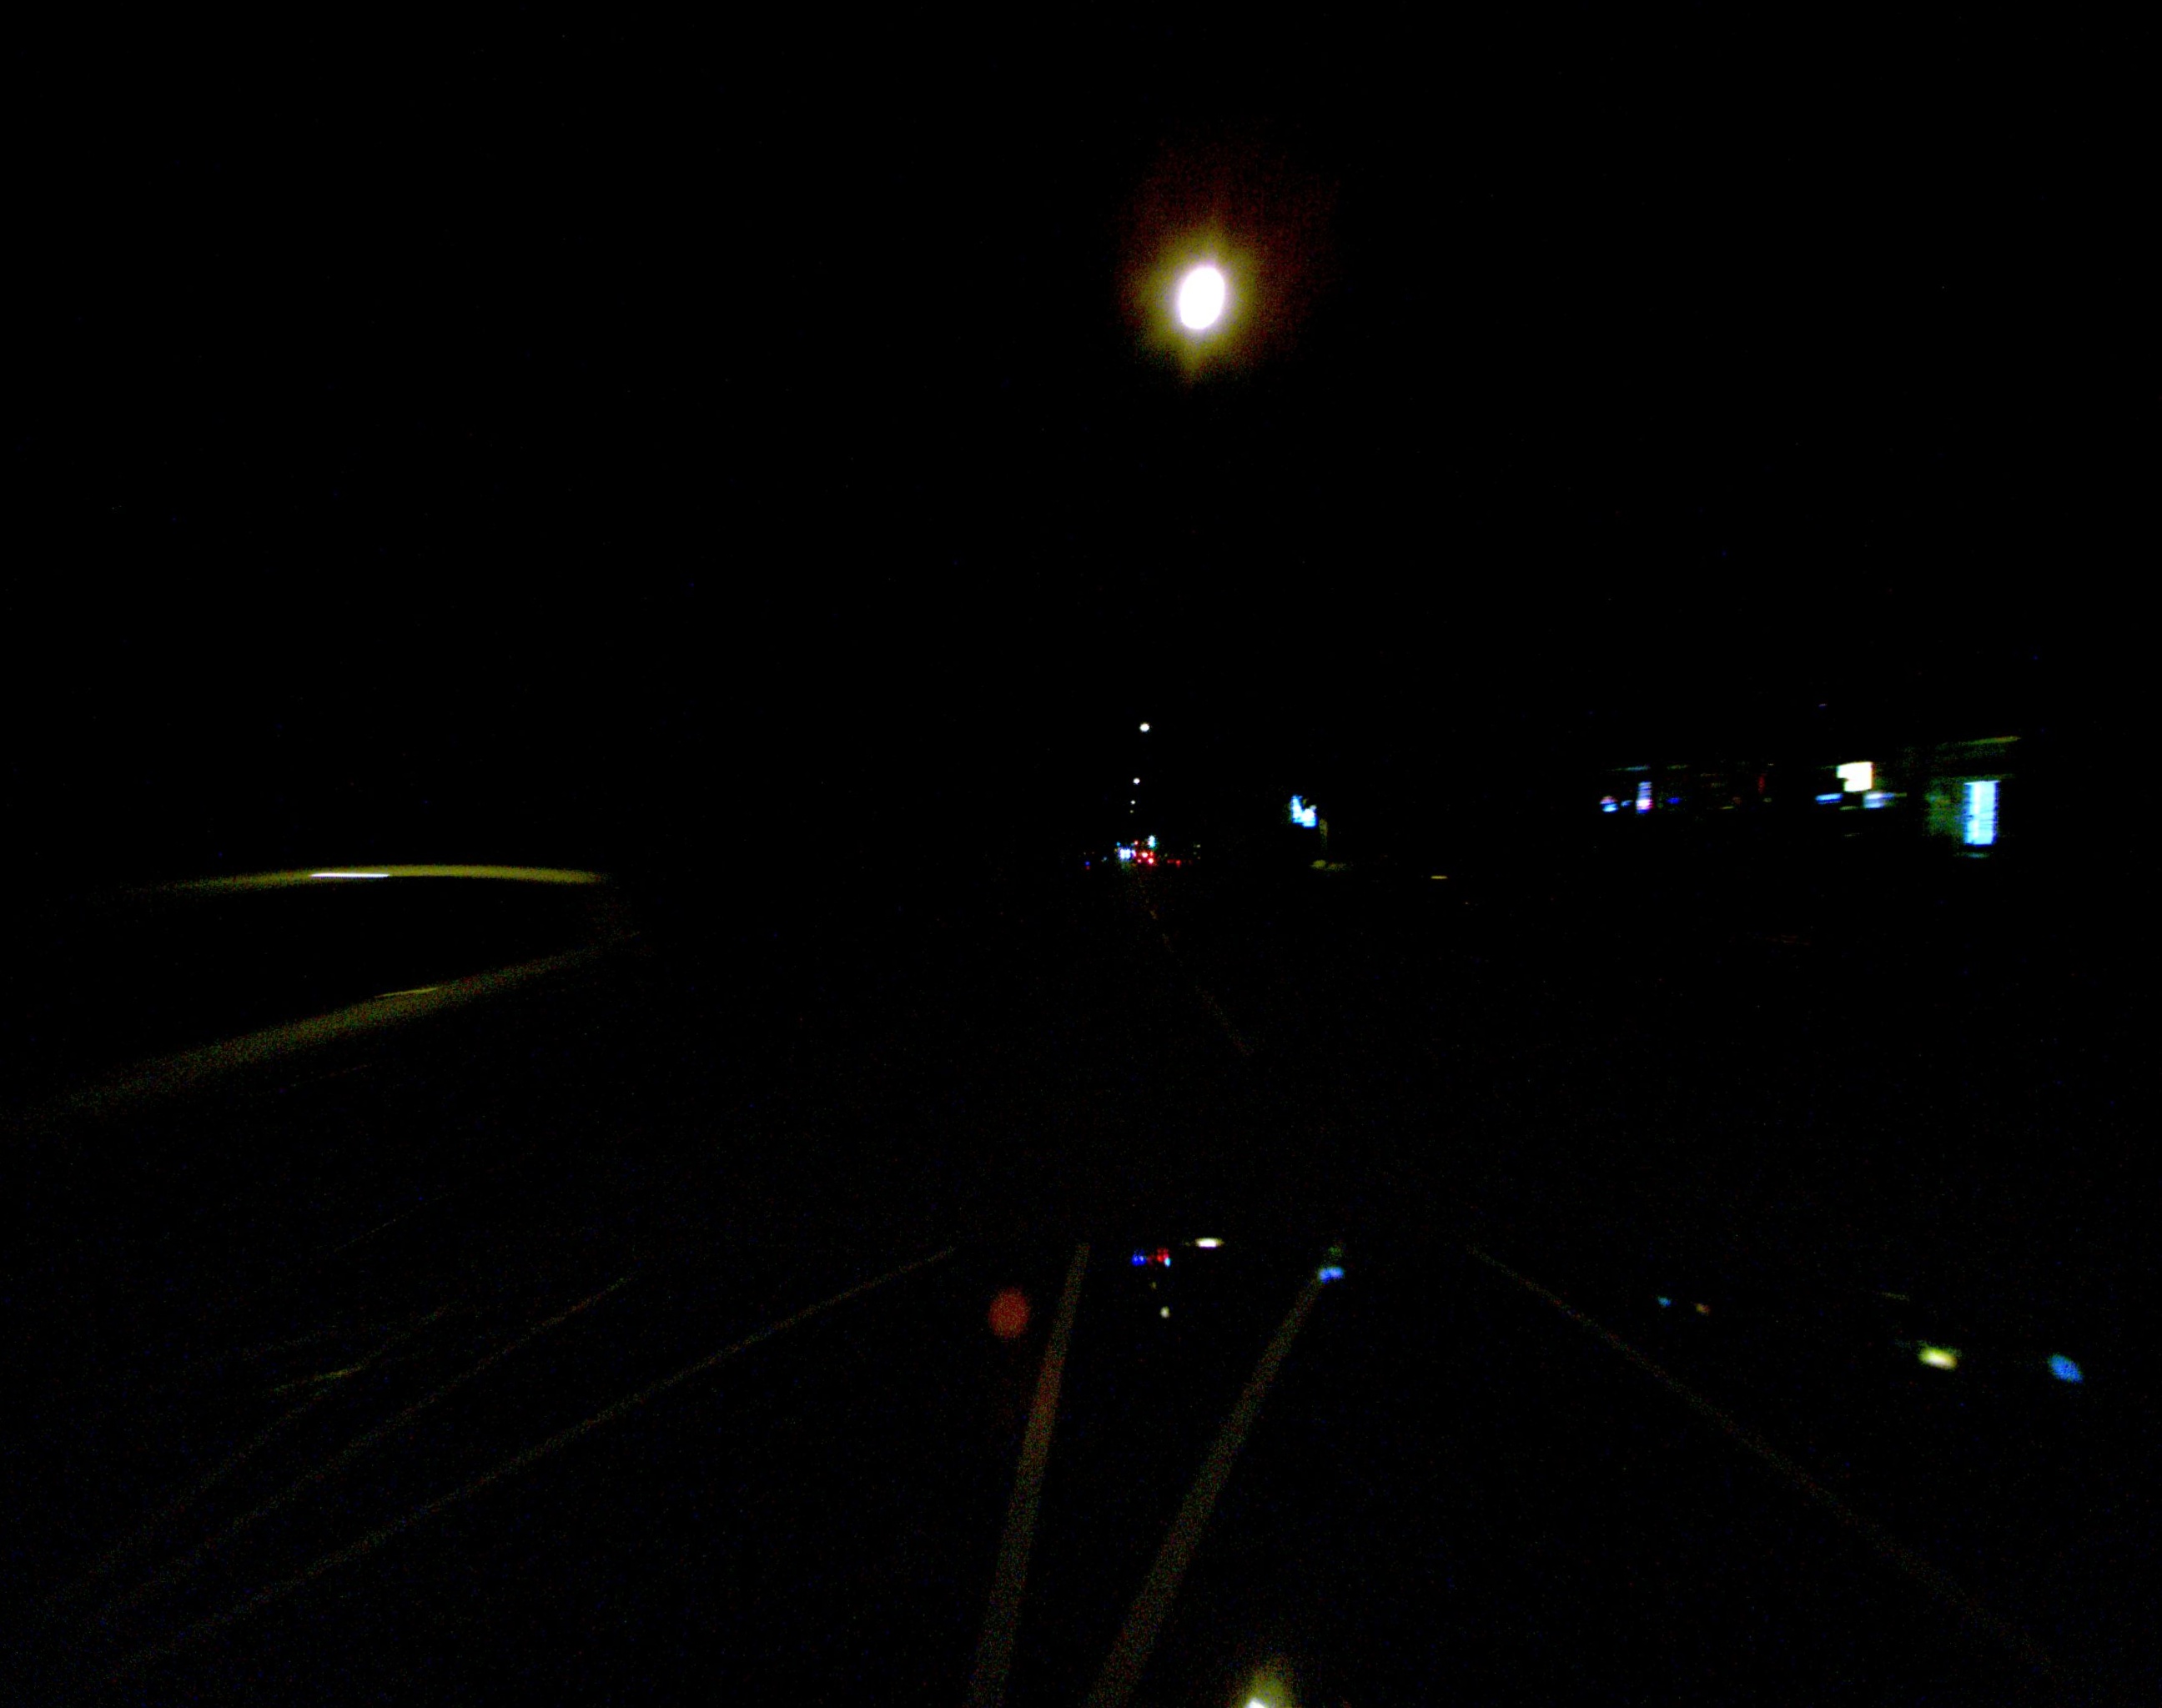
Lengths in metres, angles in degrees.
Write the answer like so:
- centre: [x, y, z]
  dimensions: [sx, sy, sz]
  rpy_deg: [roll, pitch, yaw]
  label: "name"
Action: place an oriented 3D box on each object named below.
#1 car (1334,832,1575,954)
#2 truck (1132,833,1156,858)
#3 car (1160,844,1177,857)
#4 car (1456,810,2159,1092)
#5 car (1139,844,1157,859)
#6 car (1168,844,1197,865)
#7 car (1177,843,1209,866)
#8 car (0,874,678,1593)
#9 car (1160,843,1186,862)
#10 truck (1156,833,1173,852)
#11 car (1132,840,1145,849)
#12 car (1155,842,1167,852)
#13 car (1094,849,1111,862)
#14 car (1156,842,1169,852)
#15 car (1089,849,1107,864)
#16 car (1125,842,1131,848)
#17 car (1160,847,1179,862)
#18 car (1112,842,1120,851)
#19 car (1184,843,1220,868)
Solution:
- centre: [5.504, 0.498, 11.833]
  dimensions: [1.864, 1.458, 3.897]
  rpy_deg: [-4, 0, 2]
  label: "car"
- centre: [9.082, -1.276, 110.293]
  dimensions: [3.222, 3.360, 8.852]
  rpy_deg: [-3, 1, 4]
  label: "truck"
- centre: [11.349, -0.501, 98.463]
  dimensions: [1.873, 1.551, 4.354]
  rpy_deg: [-3, 1, 4]
  label: "car"
- centre: [5.346, 0.551, 6.711]
  dimensions: [1.864, 1.524, 4.588]
  rpy_deg: [-4, 0, 2]
  label: "car"
- centre: [7.670, -0.304, 87.330]
  dimensions: [1.873, 1.635, 4.001]
  rpy_deg: [-3, 1, 4]
  label: "car"
- centre: [8.680, 0.000, 65.090]
  dimensions: [1.874, 1.635, 3.999]
  rpy_deg: [-3, 1, 0]
  label: "car"
- centre: [8.646, 0.050, 59.062]
  dimensions: [1.874, 1.635, 3.999]
  rpy_deg: [-3, 1, 0]
  label: "car"
- centre: [-3.367, 0.935, 2.276]
  dimensions: [1.741, 1.588, 4.359]
  rpy_deg: [0, 1, 4]
  label: "car"
- centre: [8.724, -0.176, 72.428]
  dimensions: [1.874, 1.635, 3.999]
  rpy_deg: [-3, 1, 0]
  label: "car"
- centre: [11.939, -1.600, 109.351]
  dimensions: [2.084, 2.562, 6.874]
  rpy_deg: [-3, 1, 4]
  label: "truck"
- centre: [9.500, -1.576, 125.824]
  dimensions: [1.772, 1.526, 3.897]
  rpy_deg: [-2, 0, 1]
  label: "car"
- centre: [14.131, -1.224, 134.134]
  dimensions: [1.873, 1.551, 4.354]
  rpy_deg: [-3, 1, 4]
  label: "car"
- centre: [2.518, 0.174, 89.565]
  dimensions: [1.873, 1.407, 4.000]
  rpy_deg: [-3, 1, 3]
  label: "car"
- centre: [13.250, -1.168, 123.325]
  dimensions: [1.873, 1.551, 4.354]
  rpy_deg: [-3, 1, 4]
  label: "car"
- centre: [1.847, 0.247, 81.911]
  dimensions: [1.873, 1.407, 4.000]
  rpy_deg: [-3, 1, 3]
  label: "car"
- centre: [13.949, -2.654, 224.746]
  dimensions: [1.774, 1.672, 3.815]
  rpy_deg: [-3, 1, 3]
  label: "car"
- centre: [9.958, 0.016, 86.061]
  dimensions: [1.873, 1.551, 4.001]
  rpy_deg: [-3, 1, 4]
  label: "car"
- centre: [7.985, -1.721, 174.384]
  dimensions: [1.792, 1.829, 3.845]
  rpy_deg: [-2, 0, 2]
  label: "car"
- centre: [8.647, 0.079, 54.651]
  dimensions: [1.874, 1.635, 3.999]
  rpy_deg: [-3, 1, 0]
  label: "car"
